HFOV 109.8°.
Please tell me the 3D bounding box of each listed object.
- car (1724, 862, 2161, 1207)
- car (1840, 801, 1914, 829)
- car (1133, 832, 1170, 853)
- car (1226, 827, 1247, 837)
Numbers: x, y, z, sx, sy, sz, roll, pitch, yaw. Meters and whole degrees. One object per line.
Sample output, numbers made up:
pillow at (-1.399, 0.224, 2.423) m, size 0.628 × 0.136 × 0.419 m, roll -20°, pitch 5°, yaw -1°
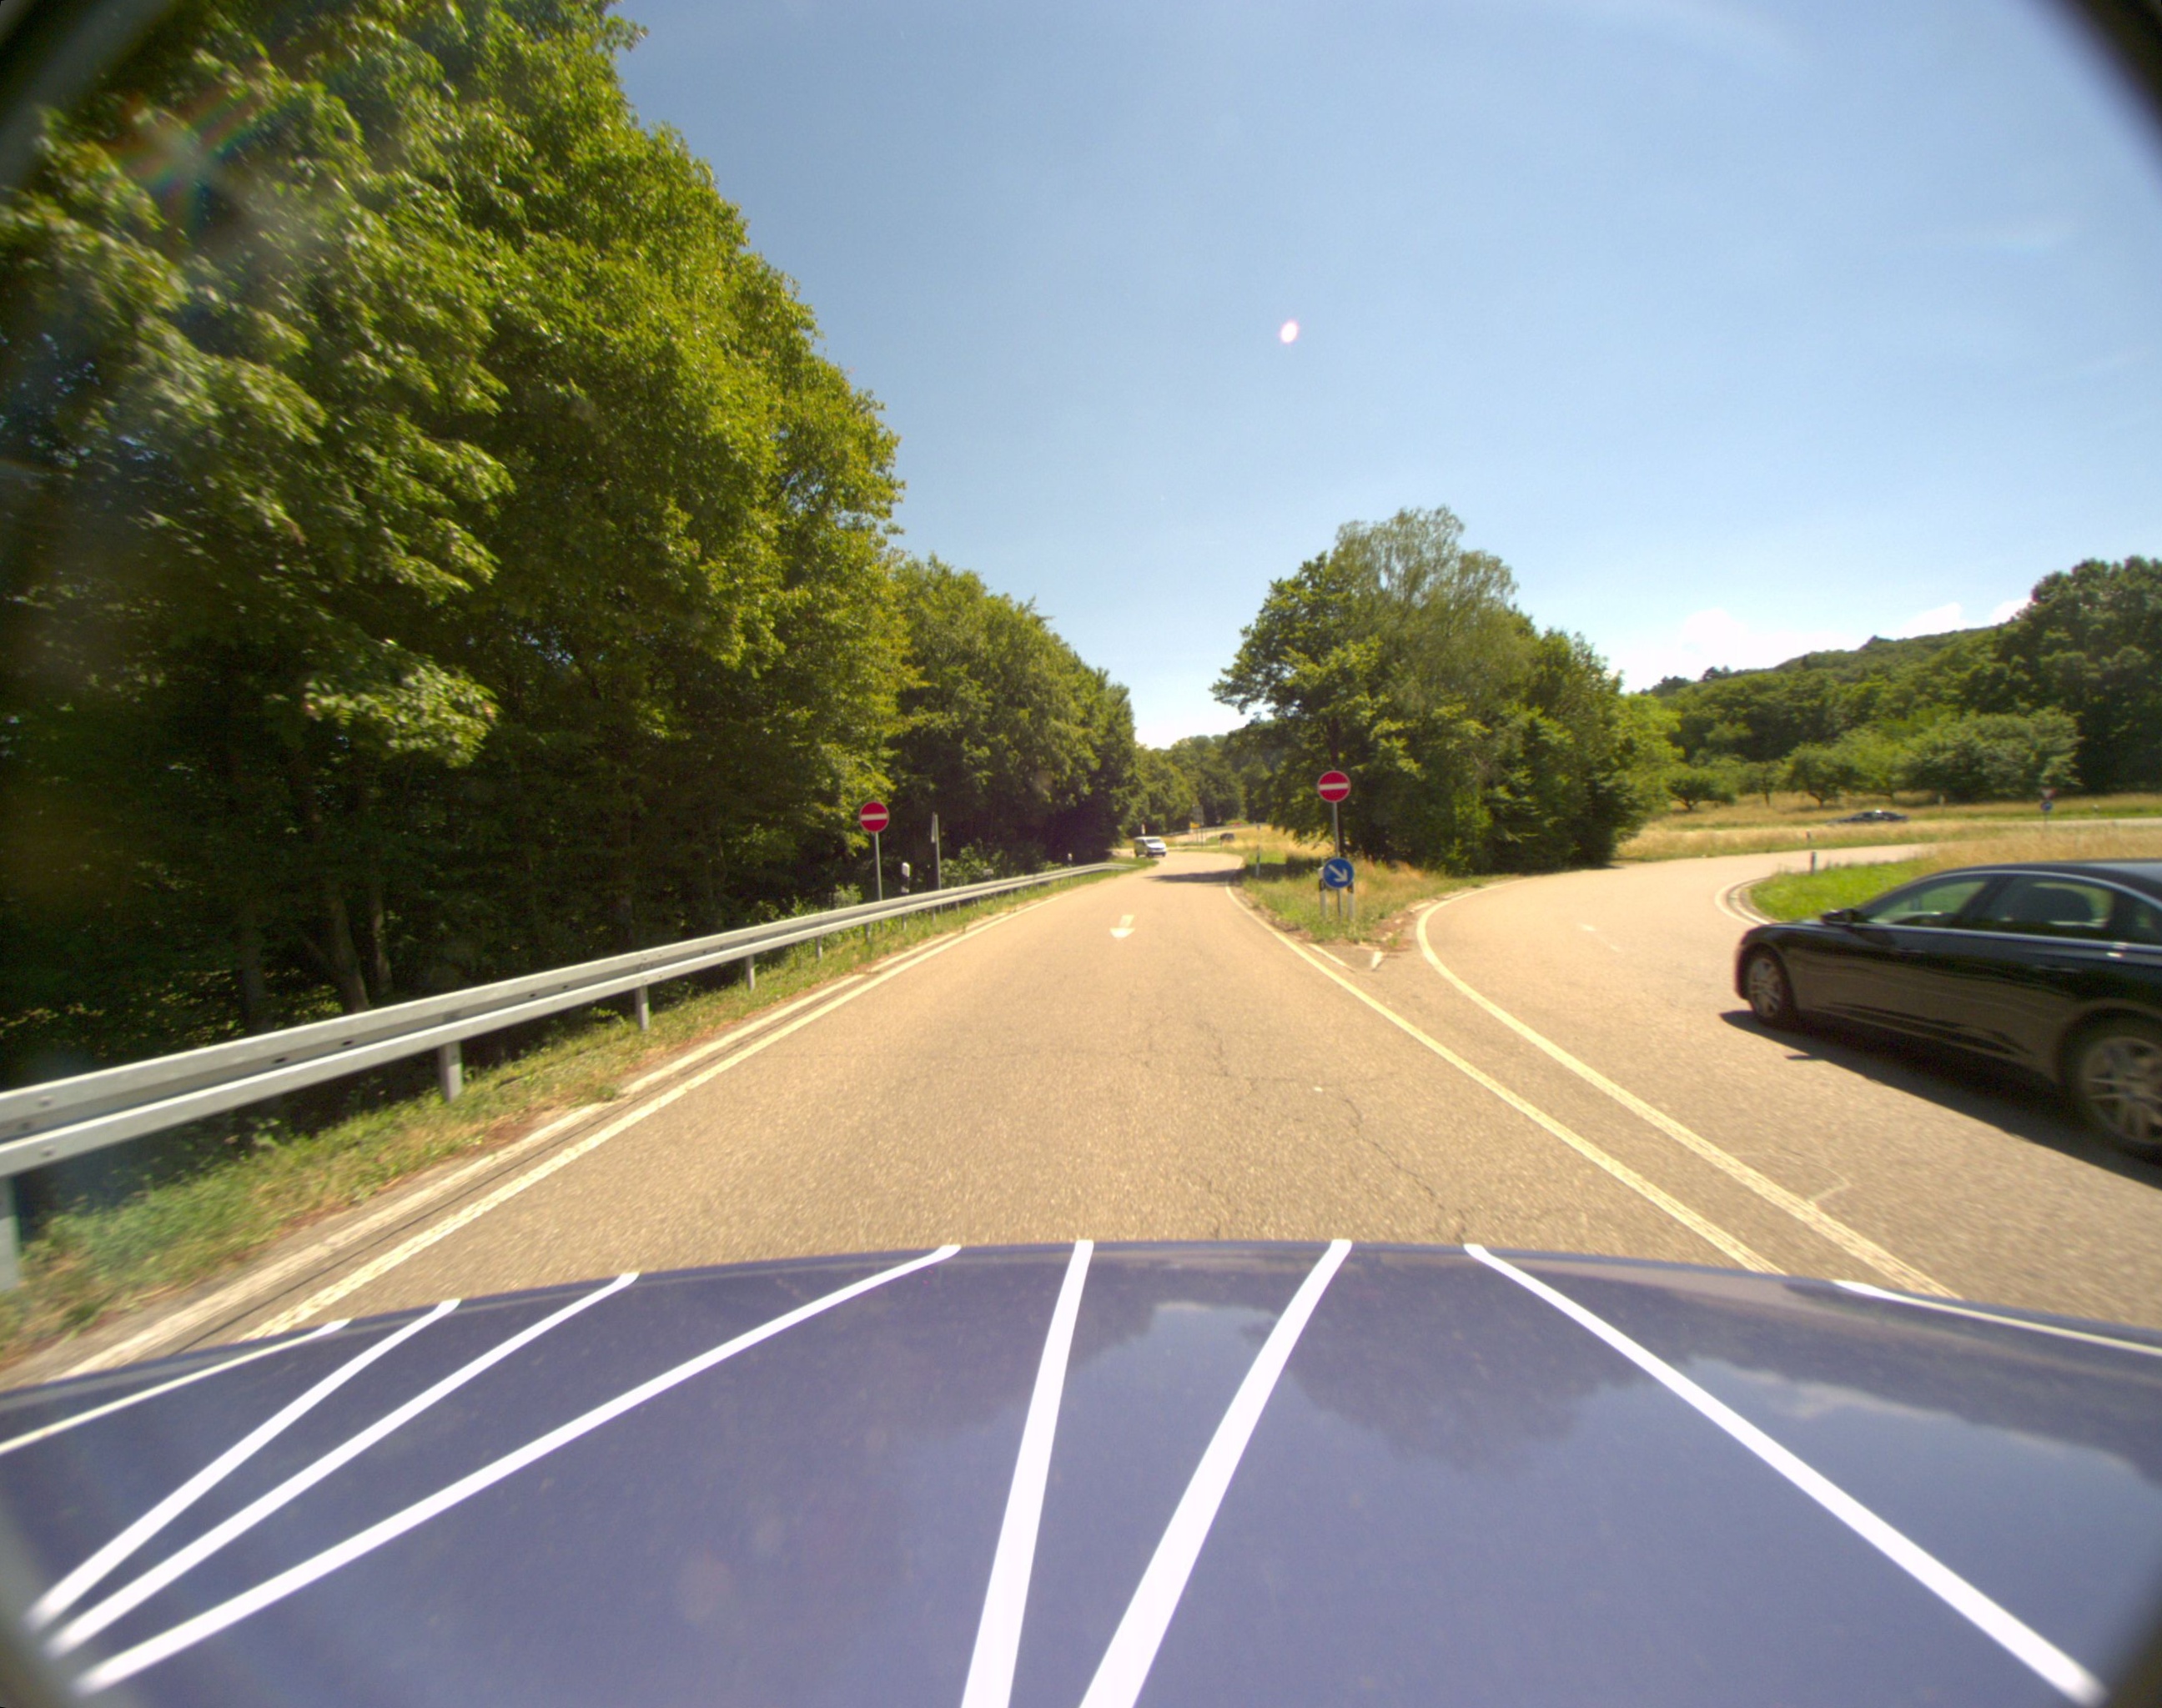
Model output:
car at (6.035, 0.841, 4.258) m, size 1.805 × 1.498 × 4.663 m, roll 0°, pitch 1°, yaw 14°
car at (64.694, -3.171, 61.818) m, size 3.988 × 2.003 × 2.003 m, roll 0°, pitch 4°, yaw 41°
car at (6.989, -1.143, 76.085) m, size 2.226 × 2.021 × 5.421 m, roll -2°, pitch 1°, yaw -11°
car at (22.142, -3.144, 108.537) m, size 1.473 × 1.320 × 2.955 m, roll -4°, pitch 3°, yaw -23°
